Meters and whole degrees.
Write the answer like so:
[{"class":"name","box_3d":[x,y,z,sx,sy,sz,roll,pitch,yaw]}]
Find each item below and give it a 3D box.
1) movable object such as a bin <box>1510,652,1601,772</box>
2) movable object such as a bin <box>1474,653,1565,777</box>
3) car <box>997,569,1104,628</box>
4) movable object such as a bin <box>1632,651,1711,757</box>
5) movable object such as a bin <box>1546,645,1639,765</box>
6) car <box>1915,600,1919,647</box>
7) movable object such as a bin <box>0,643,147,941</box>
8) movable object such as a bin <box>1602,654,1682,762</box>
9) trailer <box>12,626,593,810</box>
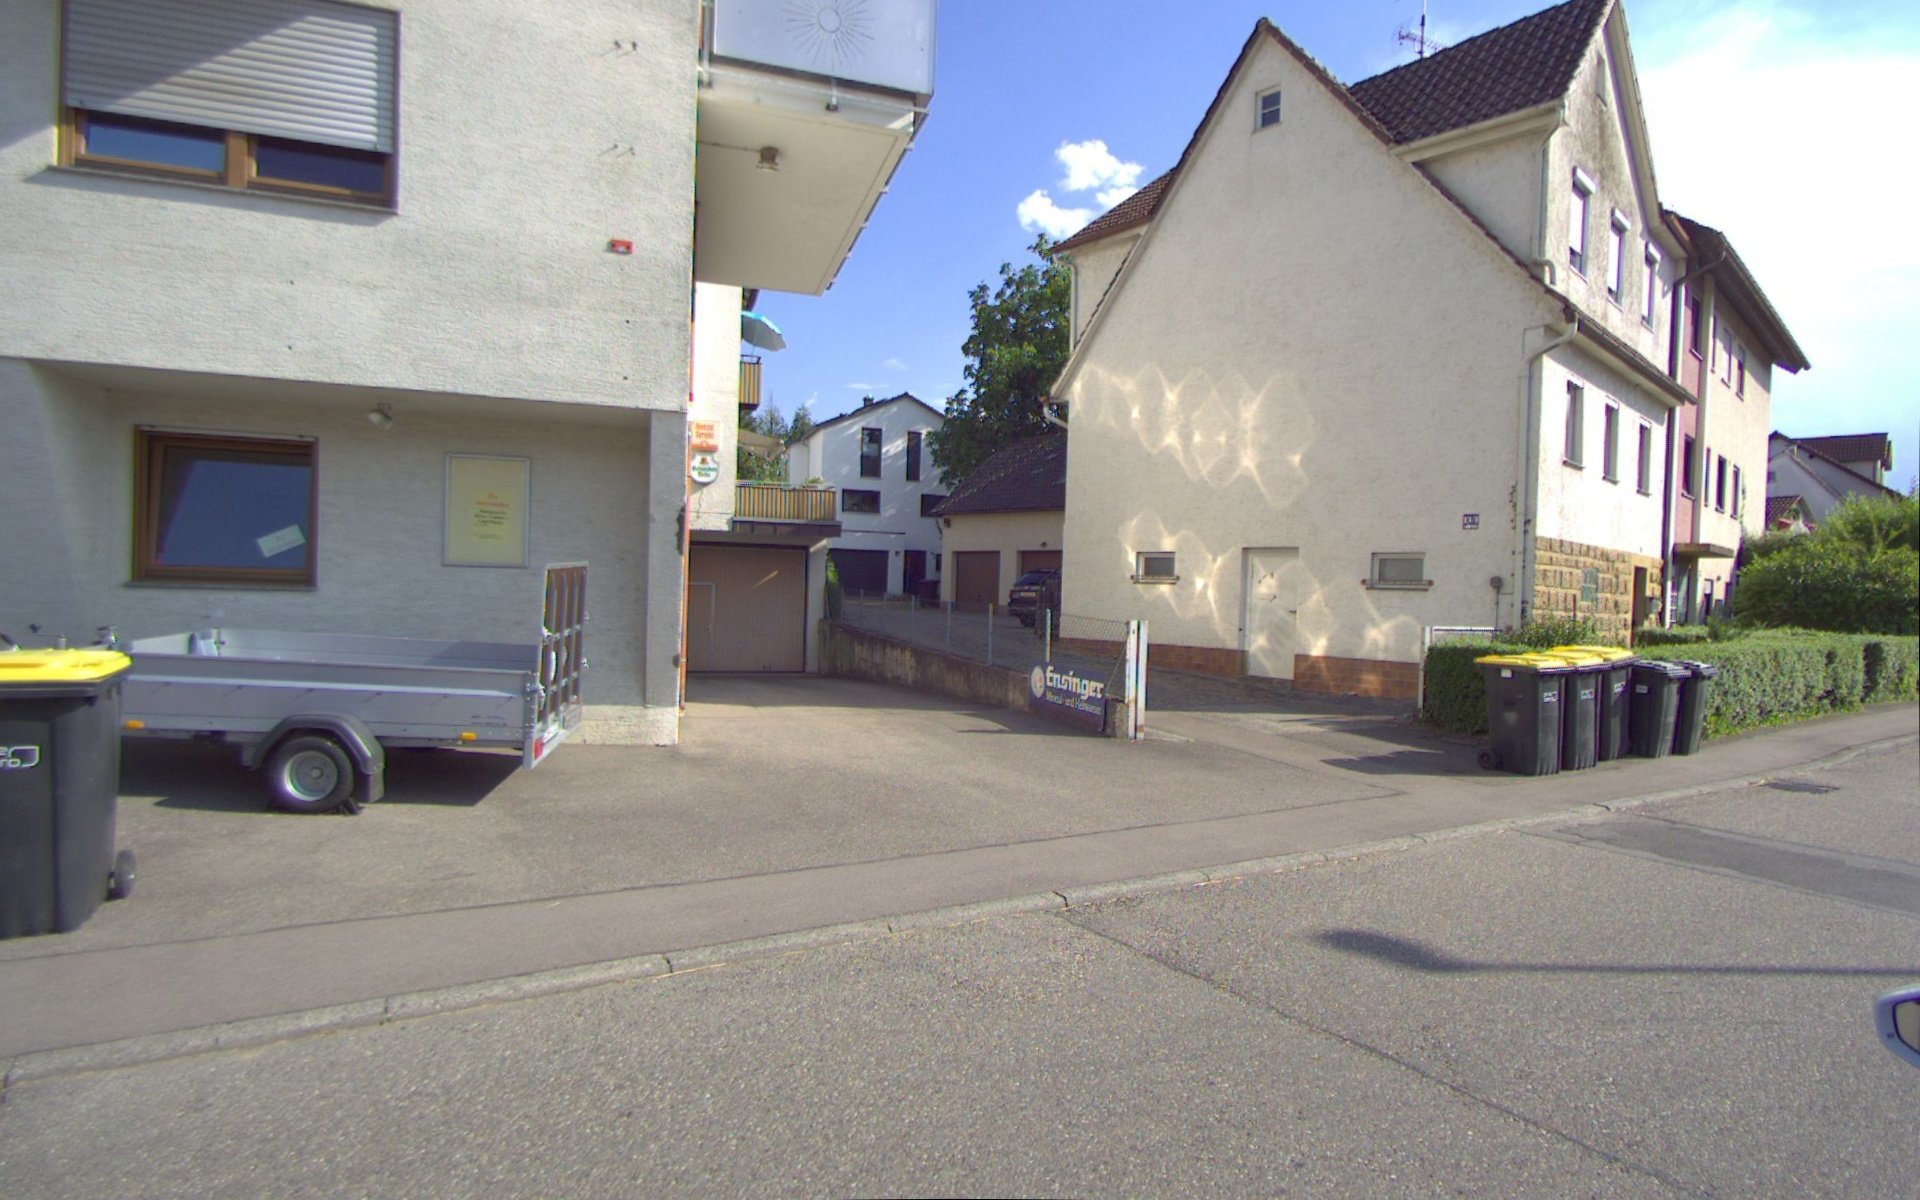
[{"class":"movable object such as a bin","box_3d":[5.794,1.068,9.783,0.523,1.098,0.585,1,-1,-30]},{"class":"movable object such as a bin","box_3d":[5.284,1.064,9.498,0.502,1.098,0.585,1,-1,-30]},{"class":"car","box_3d":[2.356,-0.029,25.485,1.403,1.380,3.473,2,1,29]},{"class":"movable object such as a bin","box_3d":[7.357,1.055,10.385,0.452,1.036,0.529,1,-1,-30]},{"class":"movable object such as a bin","box_3d":[6.360,1.032,10.106,0.610,1.137,0.585,1,-1,-30]},{"class":"car","box_3d":[29.853,0.720,30.040,3.166,1.390,1.349,2,-1,-37]},{"class":"movable object such as a bin","box_3d":[-3.736,0.748,4.102,0.551,1.085,0.567,1,4,-29]},{"class":"movable object such as a bin","box_3d":[6.921,1.076,10.194,0.452,1.036,0.529,1,-1,-30]},{"class":"trailer","box_3d":[-4.022,0.742,6.566,2.842,0.867,1.331,4,2,-12]}]
